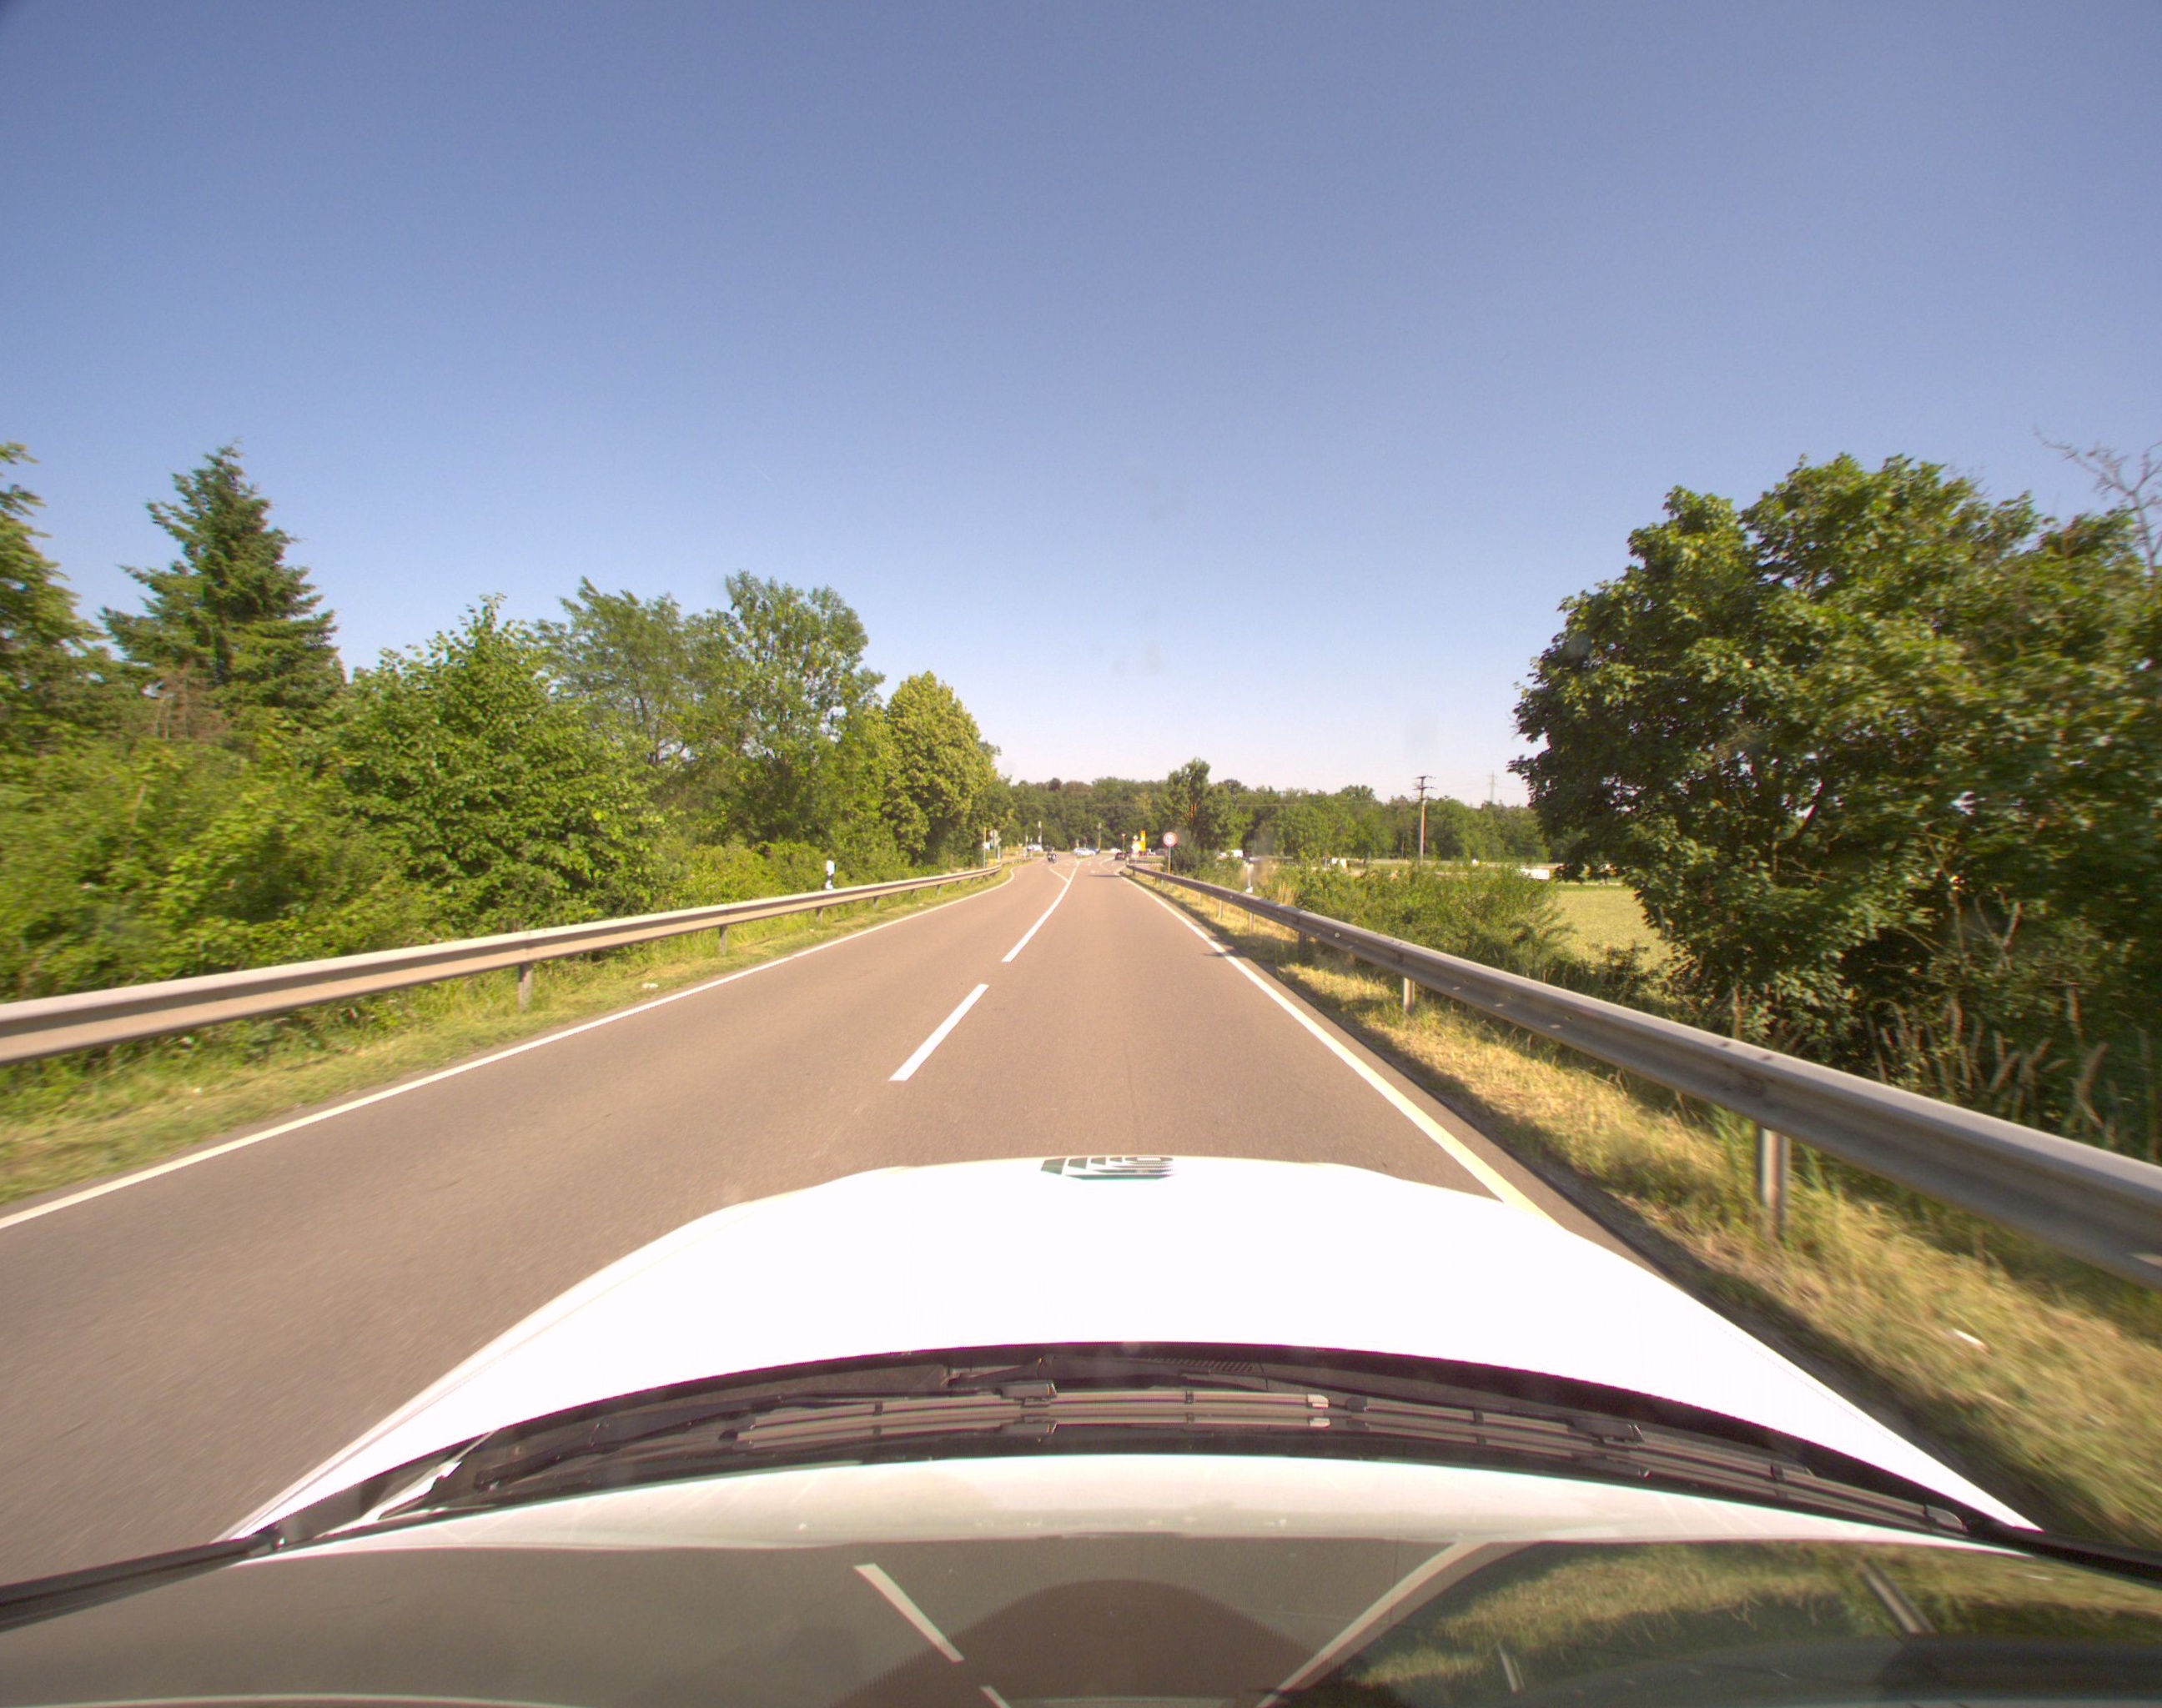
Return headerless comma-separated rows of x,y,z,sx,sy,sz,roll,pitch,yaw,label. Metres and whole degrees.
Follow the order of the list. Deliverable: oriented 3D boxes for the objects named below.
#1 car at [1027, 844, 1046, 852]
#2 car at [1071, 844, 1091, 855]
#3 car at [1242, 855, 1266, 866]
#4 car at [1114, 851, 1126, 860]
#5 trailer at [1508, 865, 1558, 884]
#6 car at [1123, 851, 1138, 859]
-10.340,-1.388,189.781,4.001,2.013,1.783,-1,0,-21,car
0.035,-0.930,166.334,3.979,2.013,1.798,1,1,-4,car
33.096,1.277,155.963,3.950,1.876,1.903,4,1,40,car
6.999,0.217,145.133,1.790,1.398,4.008,-4,0,7,car
74.998,3.351,135.393,6.732,2.670,2.906,3,1,16,trailer
9.207,0.223,152.594,1.785,1.501,4.019,2,1,18,car
